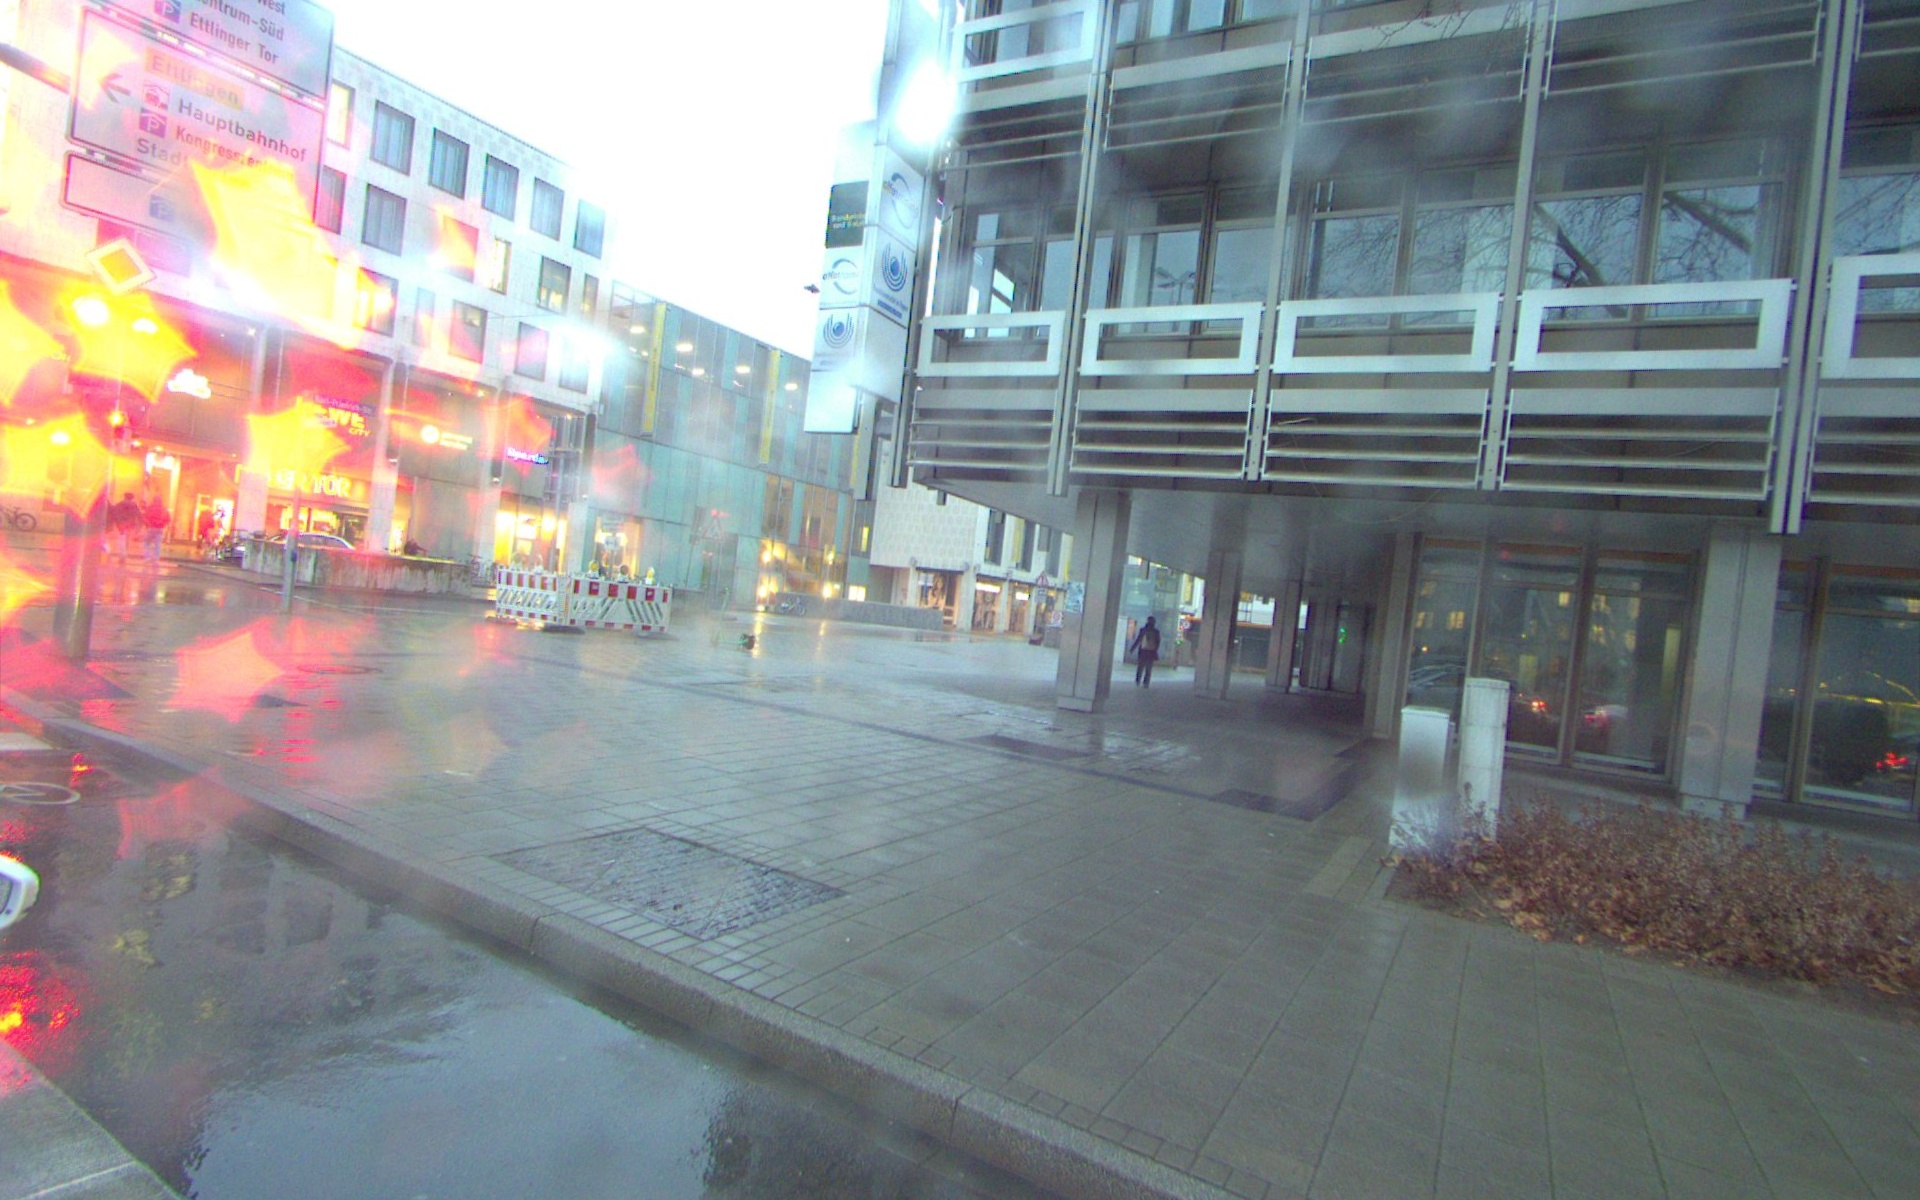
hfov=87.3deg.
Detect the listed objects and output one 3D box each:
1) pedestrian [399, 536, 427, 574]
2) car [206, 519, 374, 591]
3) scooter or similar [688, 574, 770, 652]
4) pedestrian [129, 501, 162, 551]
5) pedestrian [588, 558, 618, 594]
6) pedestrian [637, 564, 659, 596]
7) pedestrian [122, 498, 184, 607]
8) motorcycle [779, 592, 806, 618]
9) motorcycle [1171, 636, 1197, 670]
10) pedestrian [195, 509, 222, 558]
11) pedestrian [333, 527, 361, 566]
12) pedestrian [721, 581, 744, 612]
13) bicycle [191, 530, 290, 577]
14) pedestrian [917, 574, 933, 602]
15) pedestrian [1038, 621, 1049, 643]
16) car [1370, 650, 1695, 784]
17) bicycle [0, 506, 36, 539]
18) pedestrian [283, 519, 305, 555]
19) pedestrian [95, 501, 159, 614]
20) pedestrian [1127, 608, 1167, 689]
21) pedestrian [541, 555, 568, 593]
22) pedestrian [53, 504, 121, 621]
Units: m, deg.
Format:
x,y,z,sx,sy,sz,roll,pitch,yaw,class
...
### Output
x,y,z,sx,sy,sz,roll,pitch,yaw,class
-26.513,-2.174,48.773,0.519,1.705,0.894,6,0,31,pedestrian
-21.699,-1.424,32.727,1.968,1.636,3.994,6,-2,33,car
-4.658,0.257,20.248,1.470,1.368,0.593,7,-1,32,scooter or similar
-35.591,-3.223,43.966,0.688,2.039,0.845,7,1,40,pedestrian
-18.734,-1.238,52.823,0.810,1.703,1.032,6,-1,31,pedestrian
-18.134,-1.166,58.462,0.786,1.760,0.767,6,1,-43,pedestrian
-19.366,-1.132,24.154,0.778,2.477,0.694,7,-1,32,pedestrian
-10.191,0.284,61.113,0.585,1.368,1.491,7,-1,36,motorcycle
9.893,2.354,44.352,0.584,1.368,1.493,7,-1,29,motorcycle
-32.824,-2.902,43.938,0.788,2.039,0.586,6,1,-39,pedestrian
-28.657,-2.510,47.040,0.770,1.703,0.742,6,-1,38,pedestrian
-13.134,-0.204,58.099,0.770,1.703,0.742,6,-1,38,pedestrian
-26.339,-1.686,36.881,0.941,1.375,2.718,6,-1,28,bicycle
-2.217,-0.776,64.101,0.573,1.703,0.542,6,-1,38,pedestrian
6.967,2.647,83.759,0.573,1.703,0.542,6,-1,38,pedestrian
8.558,1.665,15.263,3.935,1.327,1.994,6,1,33,car
-36.512,-3.005,38.421,0.515,1.082,1.651,7,-2,28,bicycle
-34.211,-3.209,51.677,0.729,1.740,0.733,6,1,-31,pedestrian
-19.218,-0.975,23.212,0.745,2.469,0.691,7,-1,31,pedestrian
4.412,1.143,23.716,0.678,1.796,0.660,7,-1,16,pedestrian
-19.282,-1.234,47.849,0.770,1.703,0.742,6,-1,38,pedestrian
-19.397,-0.837,22.359,0.745,2.469,0.716,7,-1,31,pedestrian
